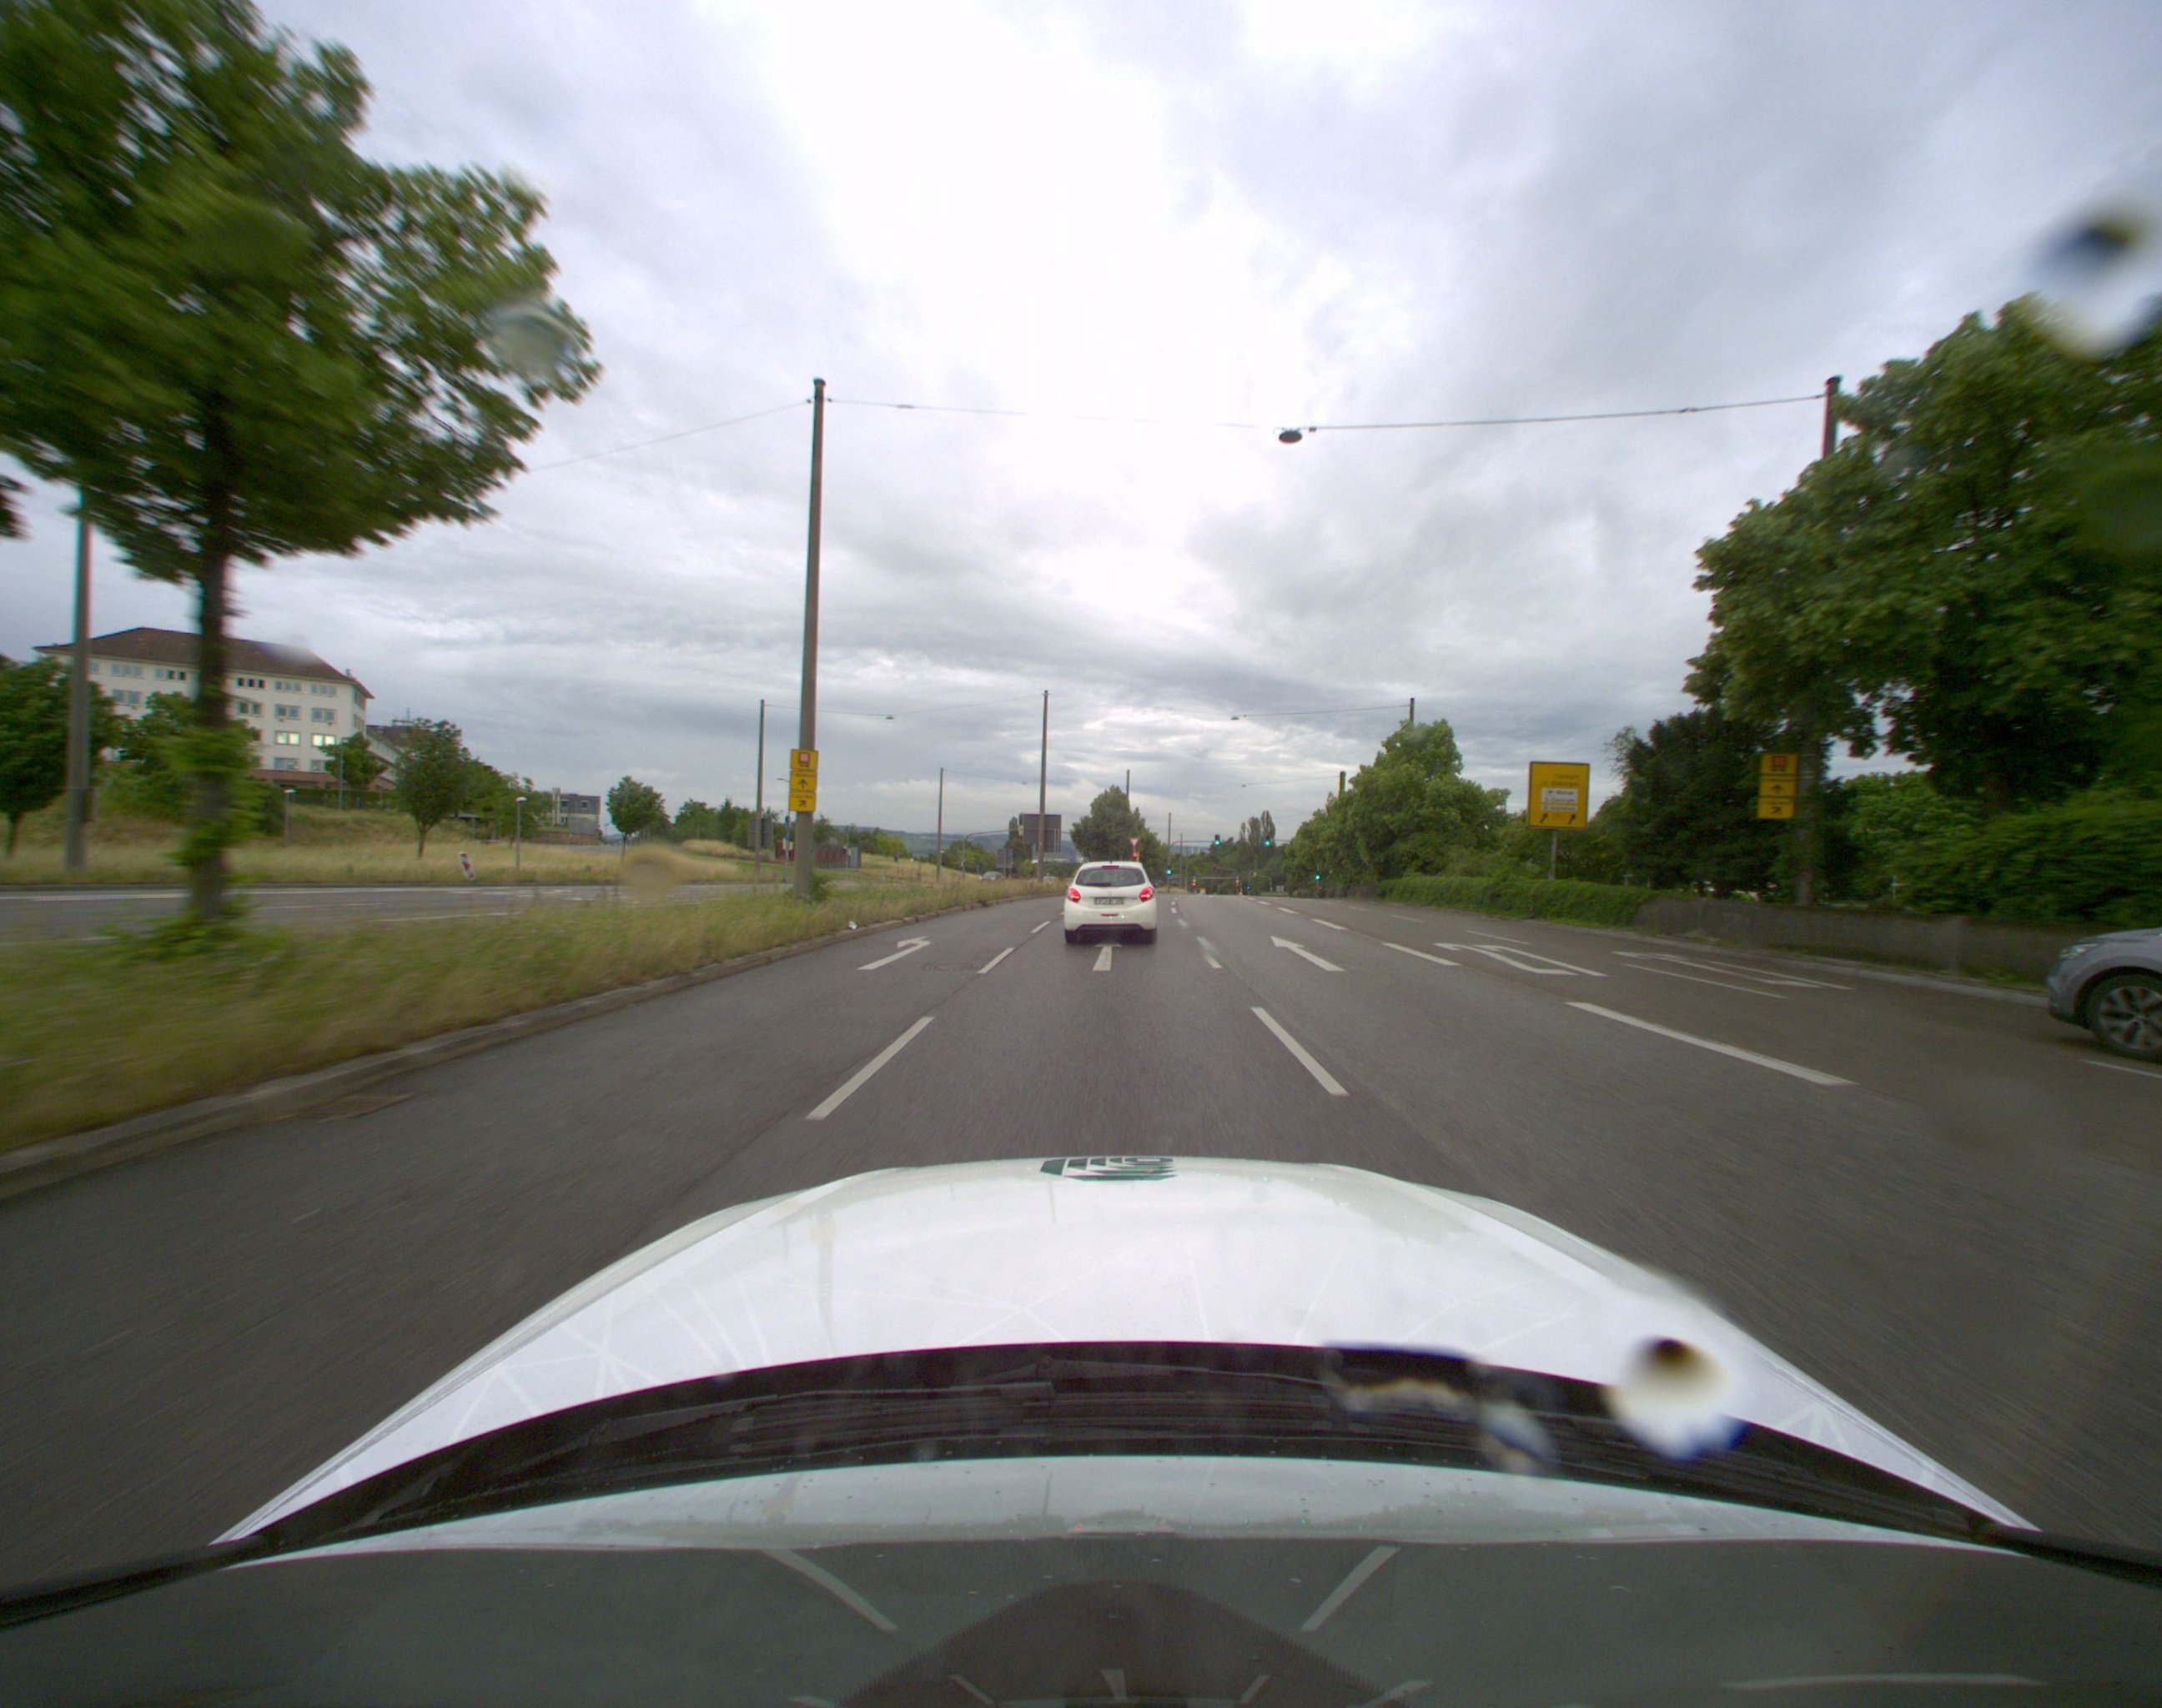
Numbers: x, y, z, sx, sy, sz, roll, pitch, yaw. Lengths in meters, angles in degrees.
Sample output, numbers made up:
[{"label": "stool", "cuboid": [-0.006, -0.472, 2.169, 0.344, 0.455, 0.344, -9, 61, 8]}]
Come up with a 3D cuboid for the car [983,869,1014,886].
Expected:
[{"label": "car", "cuboid": [-7.684, 2.231, 76.219, 1.756, 1.384, 4.011, 1, -3, 12]}]

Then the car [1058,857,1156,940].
[{"label": "car", "cuboid": [0.582, 0.797, 15.952, 1.701, 1.440, 3.694, 0, -1, 4]}]

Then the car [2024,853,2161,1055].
[{"label": "car", "cuboid": [9.628, 0.853, 5.293, 1.719, 1.649, 4.627, 3, 0, 2]}]
